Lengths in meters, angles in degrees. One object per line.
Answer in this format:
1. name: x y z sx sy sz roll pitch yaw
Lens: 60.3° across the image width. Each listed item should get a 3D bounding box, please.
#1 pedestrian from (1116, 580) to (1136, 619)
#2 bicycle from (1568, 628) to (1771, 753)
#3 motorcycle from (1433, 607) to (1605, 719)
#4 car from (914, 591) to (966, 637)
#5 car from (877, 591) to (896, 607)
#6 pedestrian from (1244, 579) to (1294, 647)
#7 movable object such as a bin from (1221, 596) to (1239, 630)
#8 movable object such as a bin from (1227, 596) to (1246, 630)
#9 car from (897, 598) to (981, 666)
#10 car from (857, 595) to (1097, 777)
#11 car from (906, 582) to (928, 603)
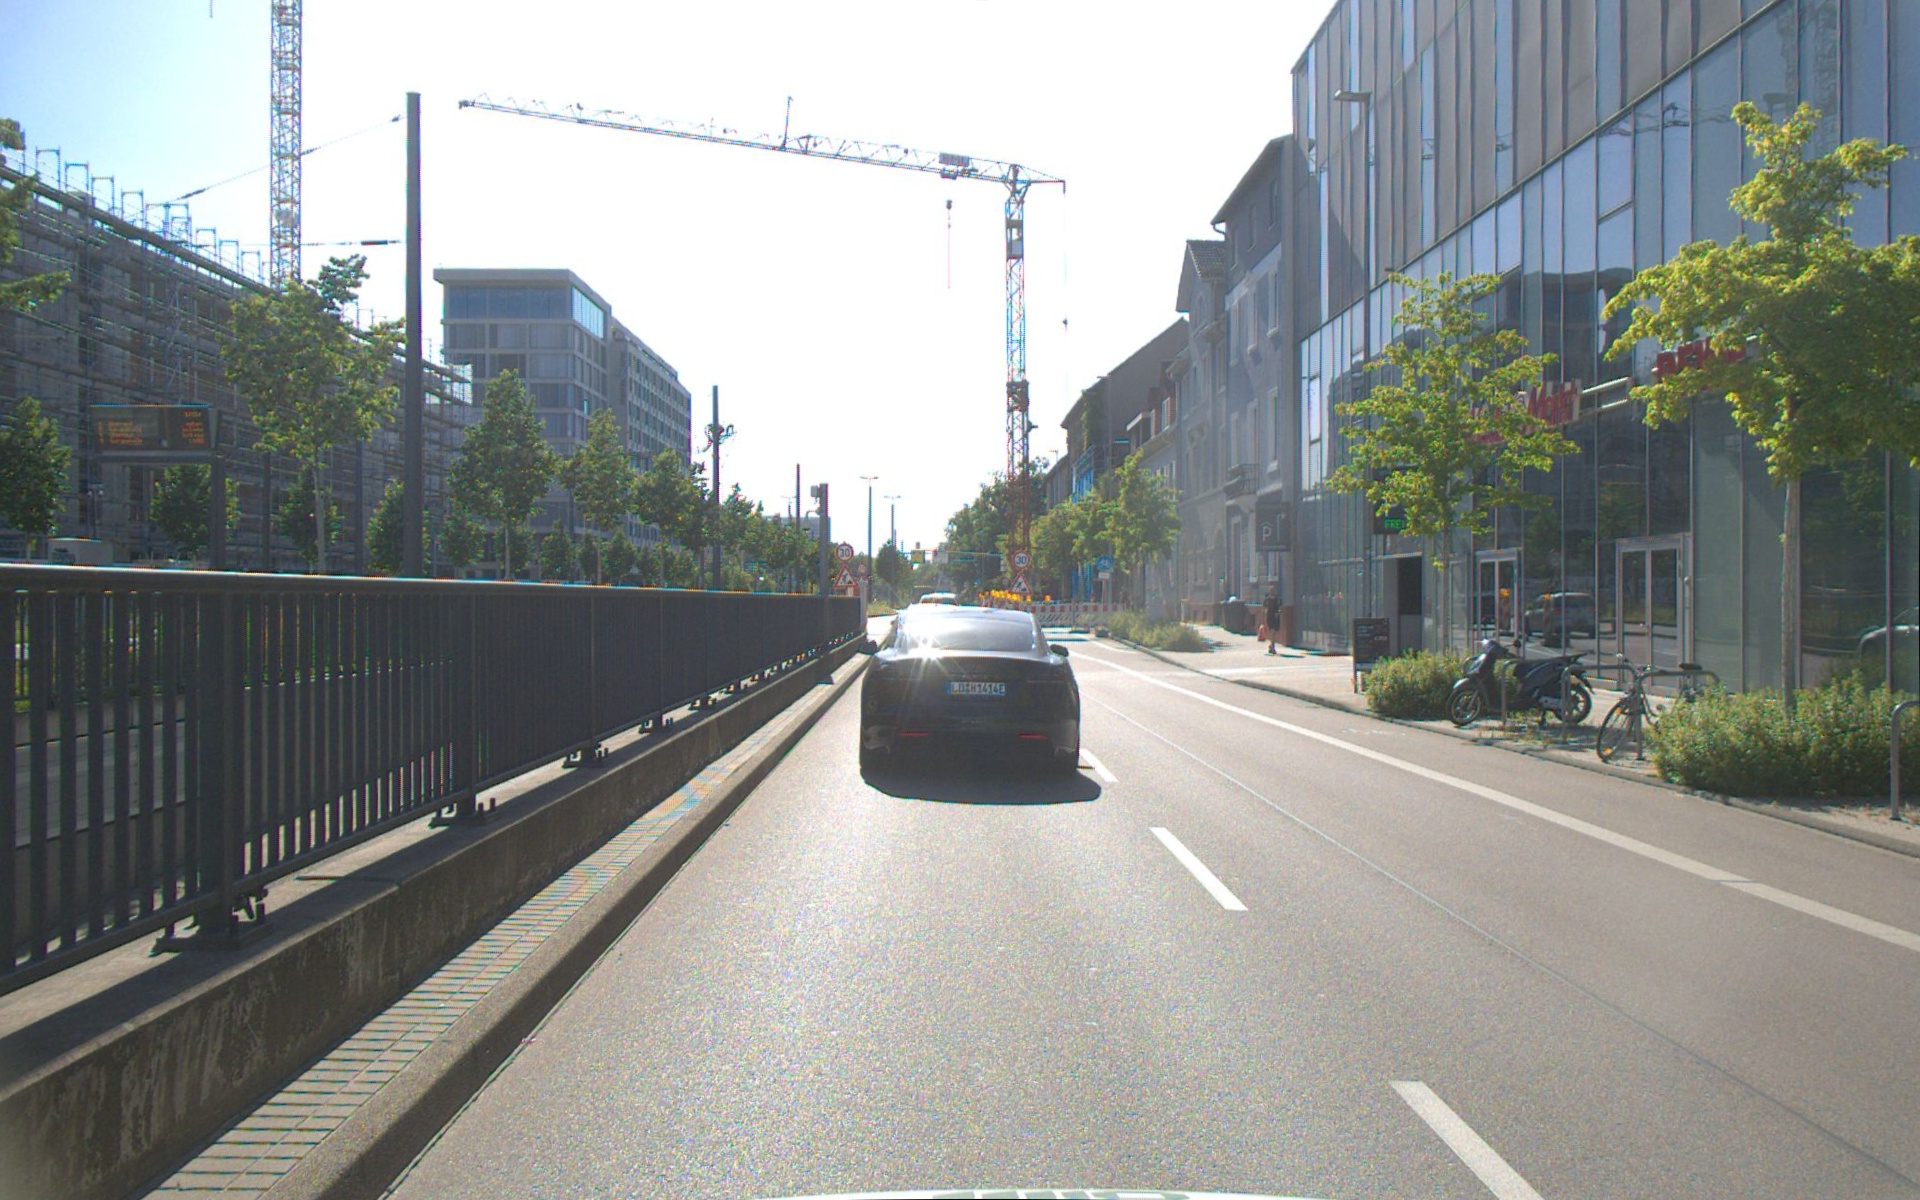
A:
1. pedestrian: 8.152 -0.019 81.344 0.834 1.896 0.929 0 0 -2
2. bicycle: 7.294 0.912 17.030 1.848 1.171 0.670 -2 0 -11
3. motorcycle: 7.299 0.829 21.609 2.030 1.377 0.652 -3 -1 23
4. car: -0.678 0.466 58.418 1.748 1.573 4.039 0 1 1
5. car: -8.097 -0.081 181.855 1.953 1.713 3.998 1 0 -2
6. pedestrian: 8.716 0.355 46.658 1.073 1.896 1.522 0 0 -2
7. movable object such as a bin: 9.608 0.448 58.869 0.547 1.189 0.562 1 -1 3
8. movable object such as a bin: 9.697 0.447 58.022 0.547 1.189 0.562 1 -1 3
9. car: -0.414 0.650 35.499 1.681 1.343 4.000 0 1 0
10. car: 0.159 0.701 15.794 1.958 1.459 4.413 1 0 0
11. car: -3.781 -0.664 145.566 1.776 1.841 4.039 0 1 1
